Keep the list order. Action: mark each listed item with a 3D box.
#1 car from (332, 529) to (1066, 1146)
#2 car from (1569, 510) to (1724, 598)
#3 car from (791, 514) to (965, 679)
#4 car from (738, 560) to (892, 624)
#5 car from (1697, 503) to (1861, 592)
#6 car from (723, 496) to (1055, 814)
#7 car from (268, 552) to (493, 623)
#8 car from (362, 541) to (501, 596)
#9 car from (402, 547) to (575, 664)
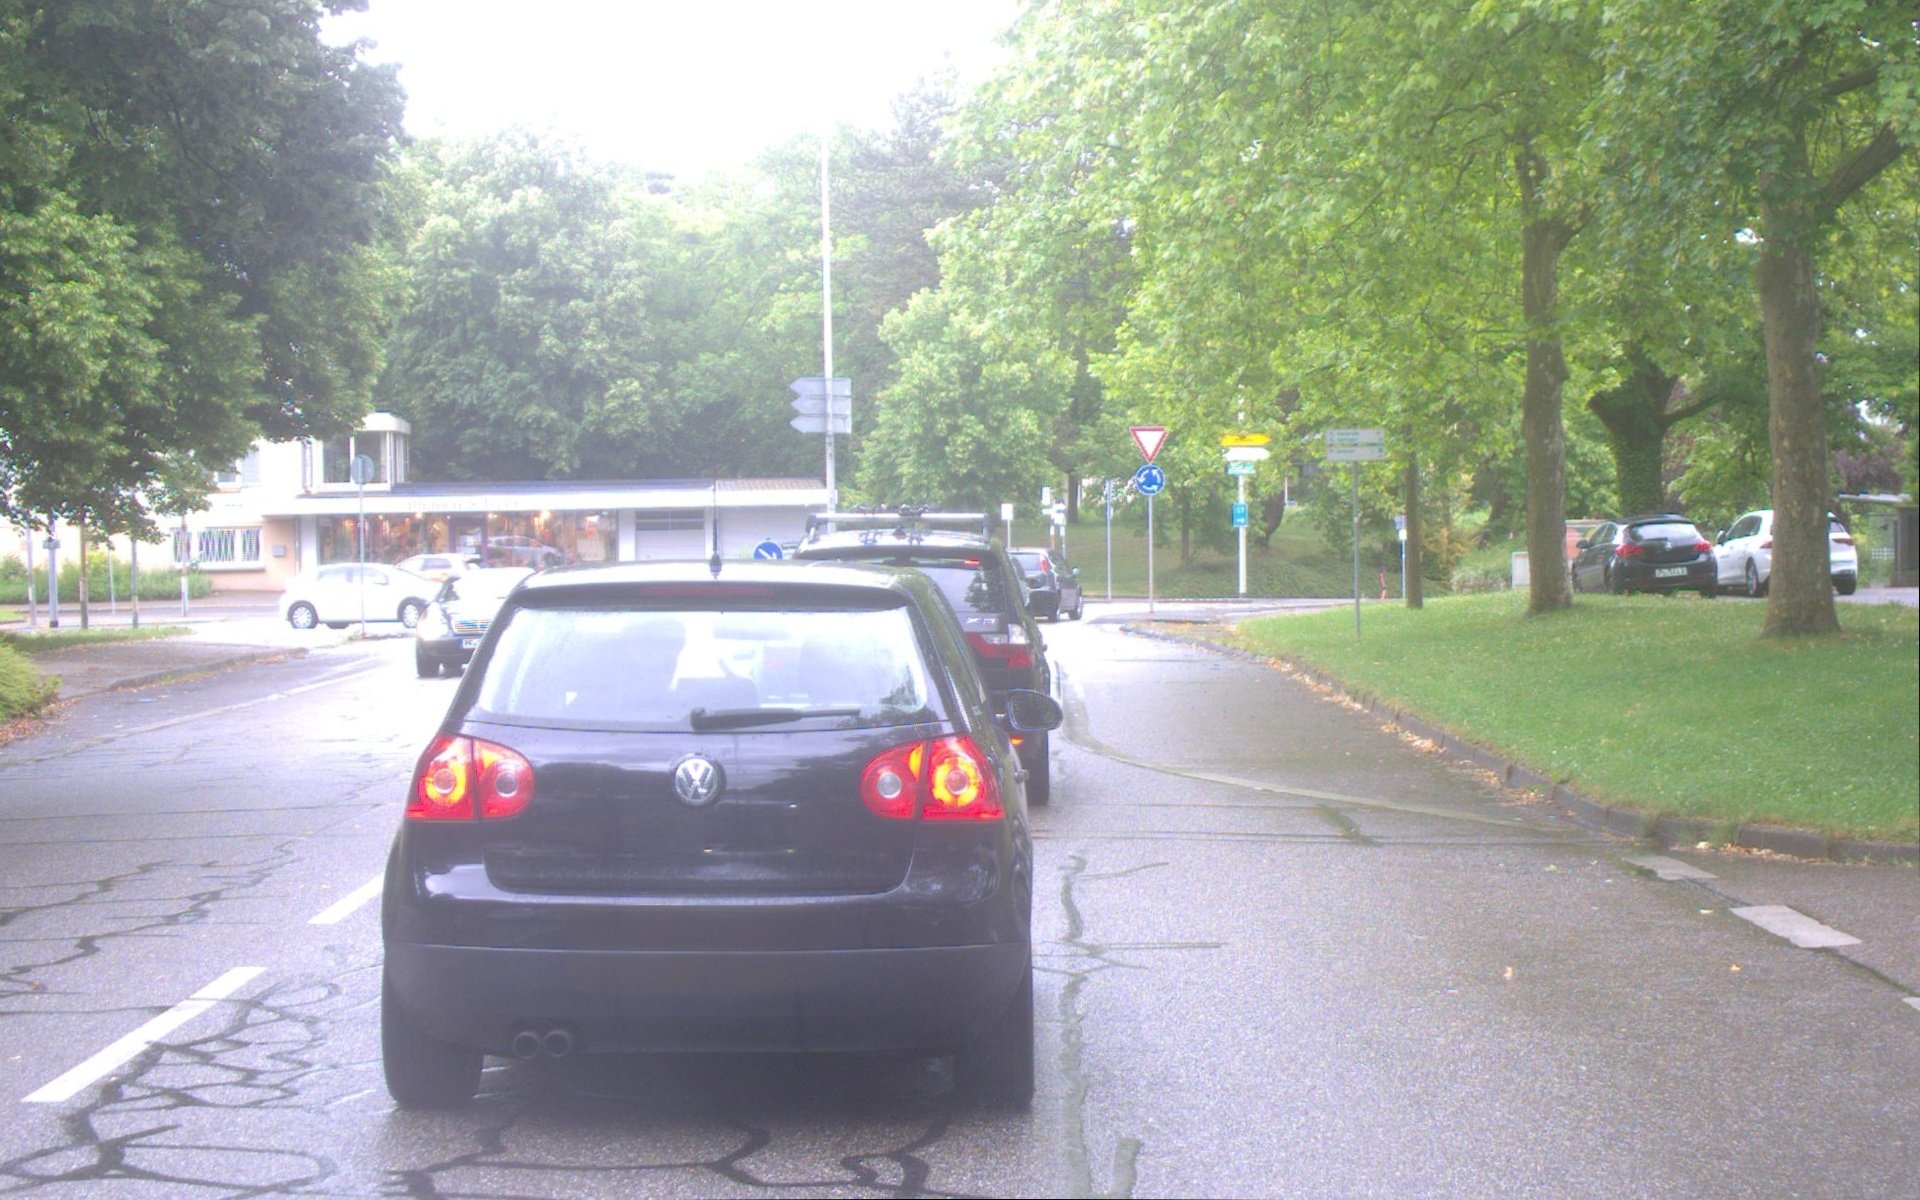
[{"bbox_3d":[-0.627,0.559,10.342,1.799,1.510,3.754,0,1,1],"label":"car"},{"bbox_3d":[11.672,-0.803,58.666,1.803,1.381,4.000,-3,1,0],"label":"car"},{"bbox_3d":[-0.897,-0.051,39.658,1.855,1.778,4.000,-1,0,1],"label":"car"},{"bbox_3d":[-3.206,-0.192,75.893,3.119,1.305,1.540,-2,1,-14],"label":"car"},{"bbox_3d":[13.984,-0.916,58.914,1.803,1.401,4.000,-3,1,0],"label":"car"},{"bbox_3d":[-0.386,0.301,21.473,1.855,1.778,4.000,-1,0,1],"label":"car"},{"bbox_3d":[-12.731,-0.276,75.628,4.498,1.414,1.846,-1,1,12],"label":"car"},{"bbox_3d":[-15.537,-0.931,101.148,3.663,1.508,1.711,-1,0,11],"label":"car"},{"bbox_3d":[-6.168,0.043,45.355,1.797,1.388,3.979,-3,1,-2],"label":"car"}]
